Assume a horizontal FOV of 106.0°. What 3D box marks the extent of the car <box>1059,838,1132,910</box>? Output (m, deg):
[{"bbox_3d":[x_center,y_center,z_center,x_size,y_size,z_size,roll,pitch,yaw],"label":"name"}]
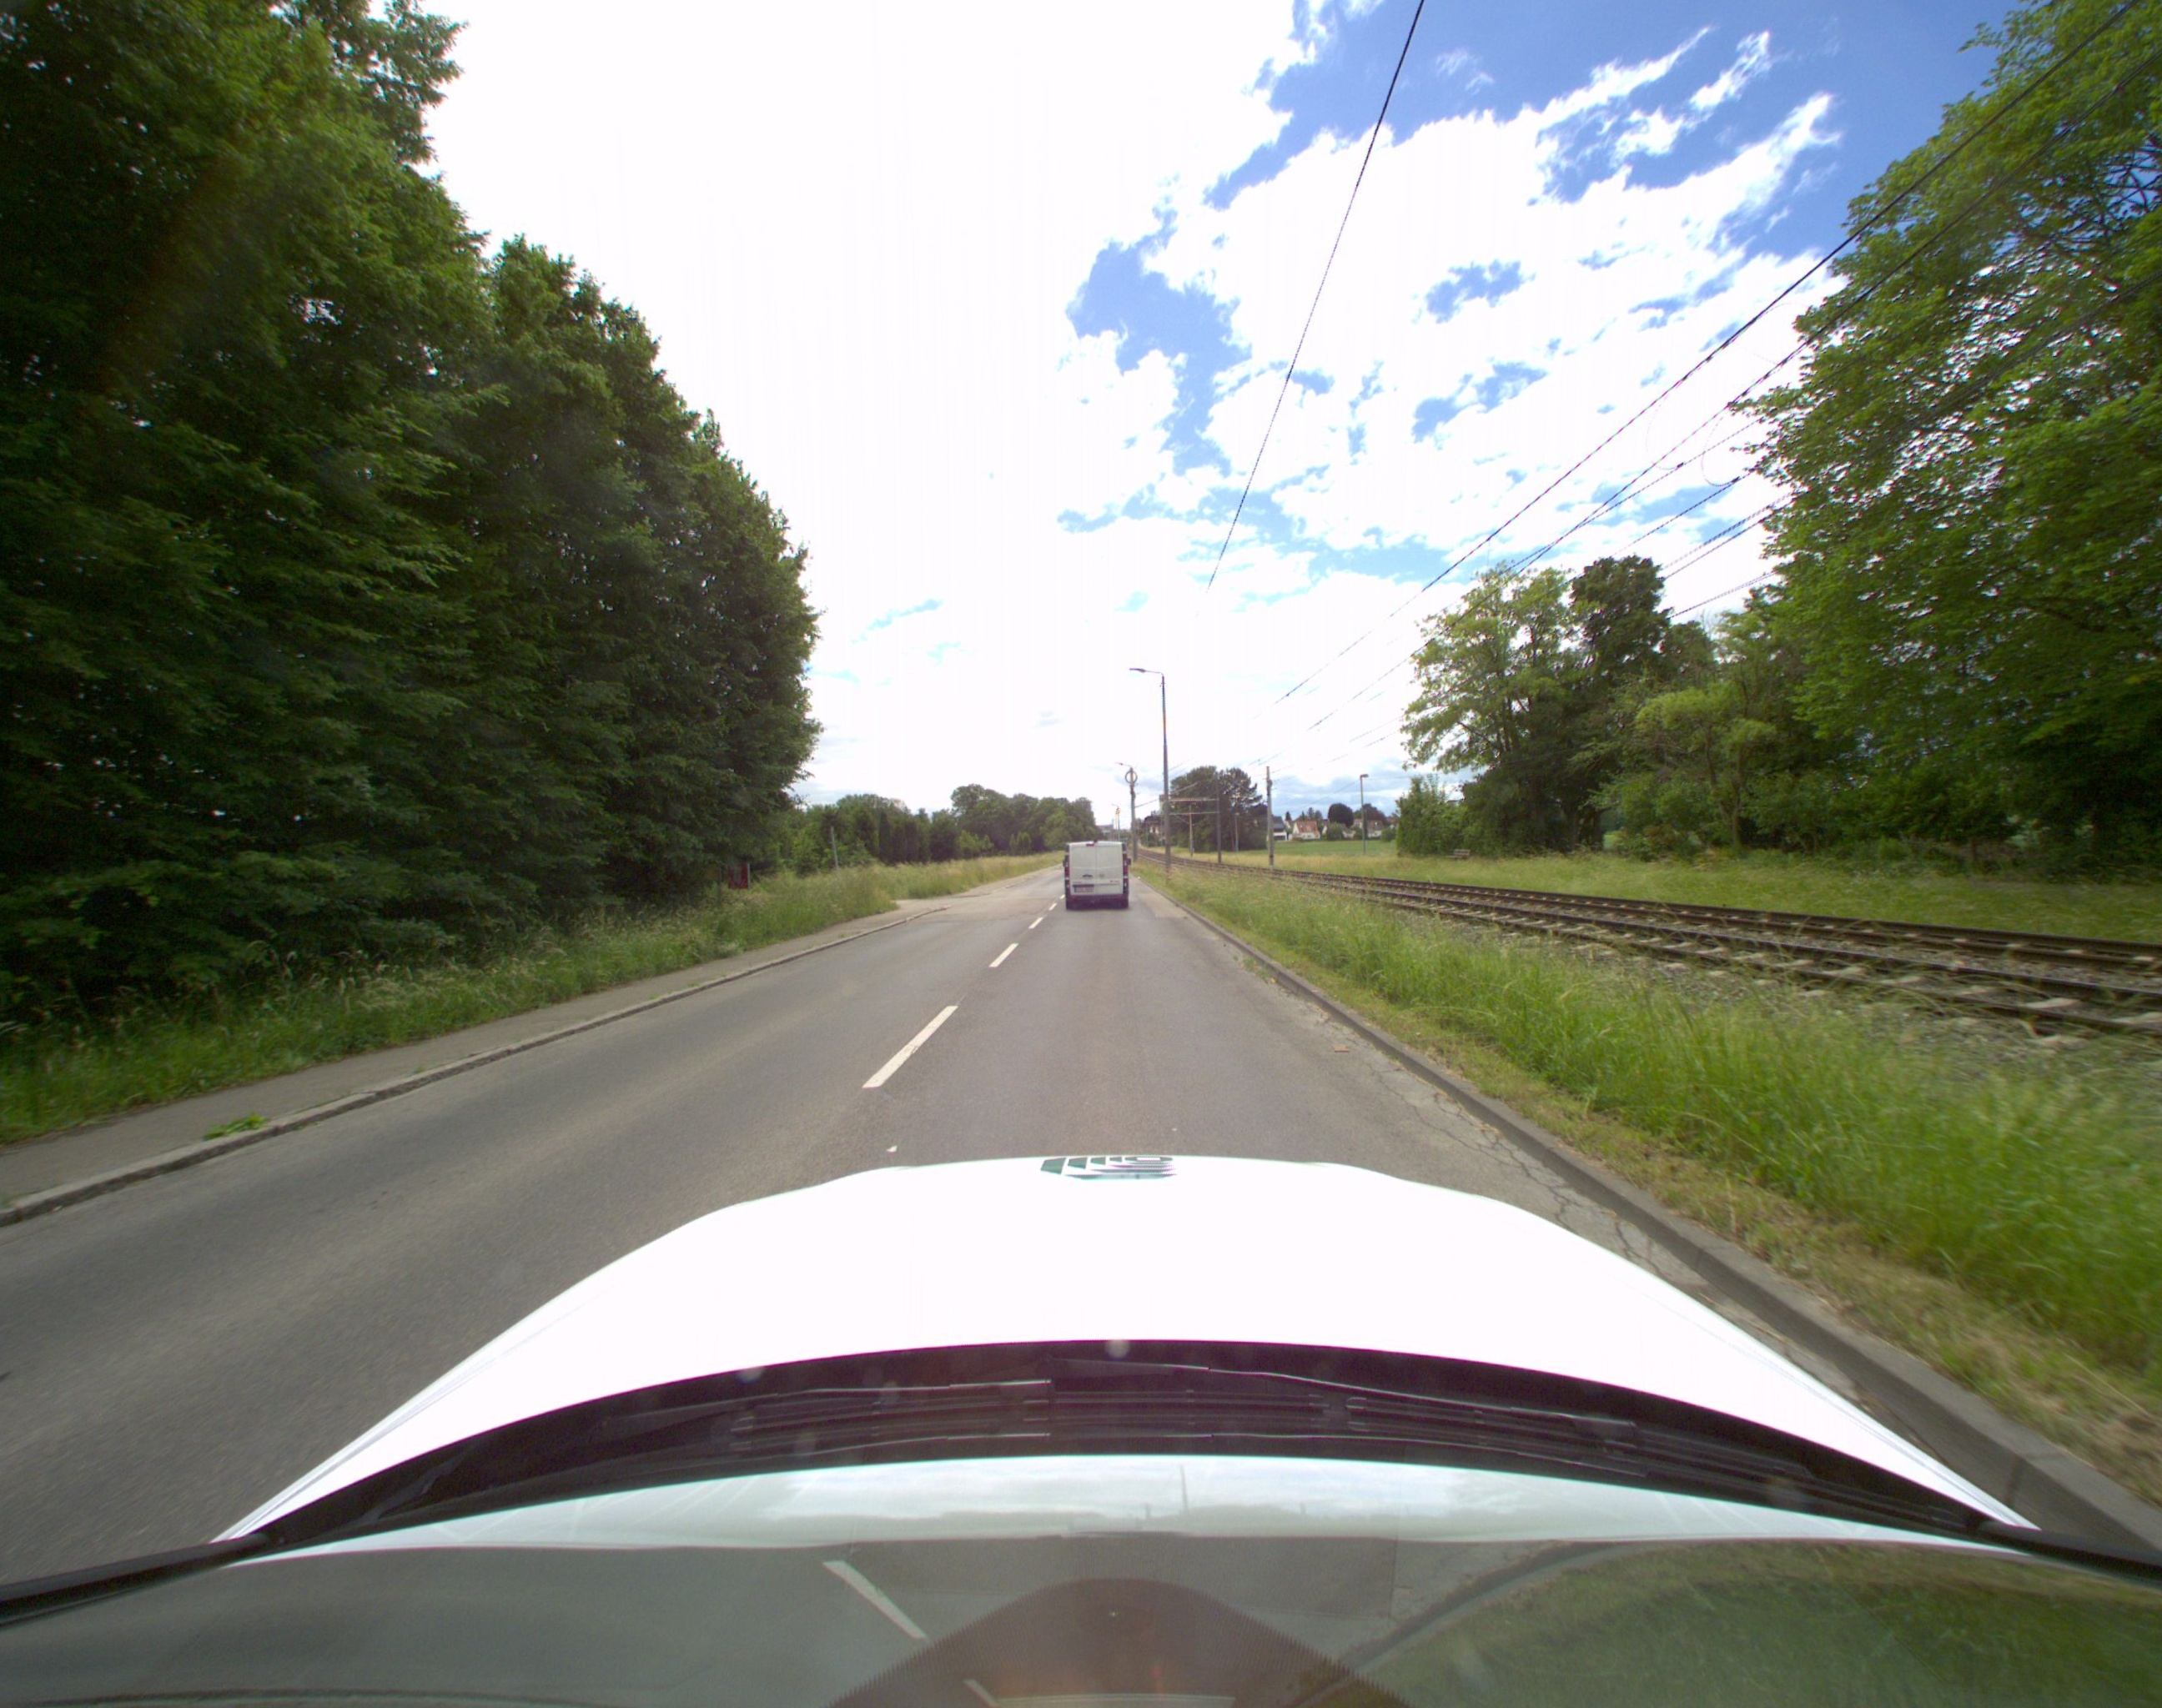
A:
[{"bbox_3d":[0.419,0.570,24.864,1.987,1.957,4.000,-2,-1,0],"label":"car"}]
